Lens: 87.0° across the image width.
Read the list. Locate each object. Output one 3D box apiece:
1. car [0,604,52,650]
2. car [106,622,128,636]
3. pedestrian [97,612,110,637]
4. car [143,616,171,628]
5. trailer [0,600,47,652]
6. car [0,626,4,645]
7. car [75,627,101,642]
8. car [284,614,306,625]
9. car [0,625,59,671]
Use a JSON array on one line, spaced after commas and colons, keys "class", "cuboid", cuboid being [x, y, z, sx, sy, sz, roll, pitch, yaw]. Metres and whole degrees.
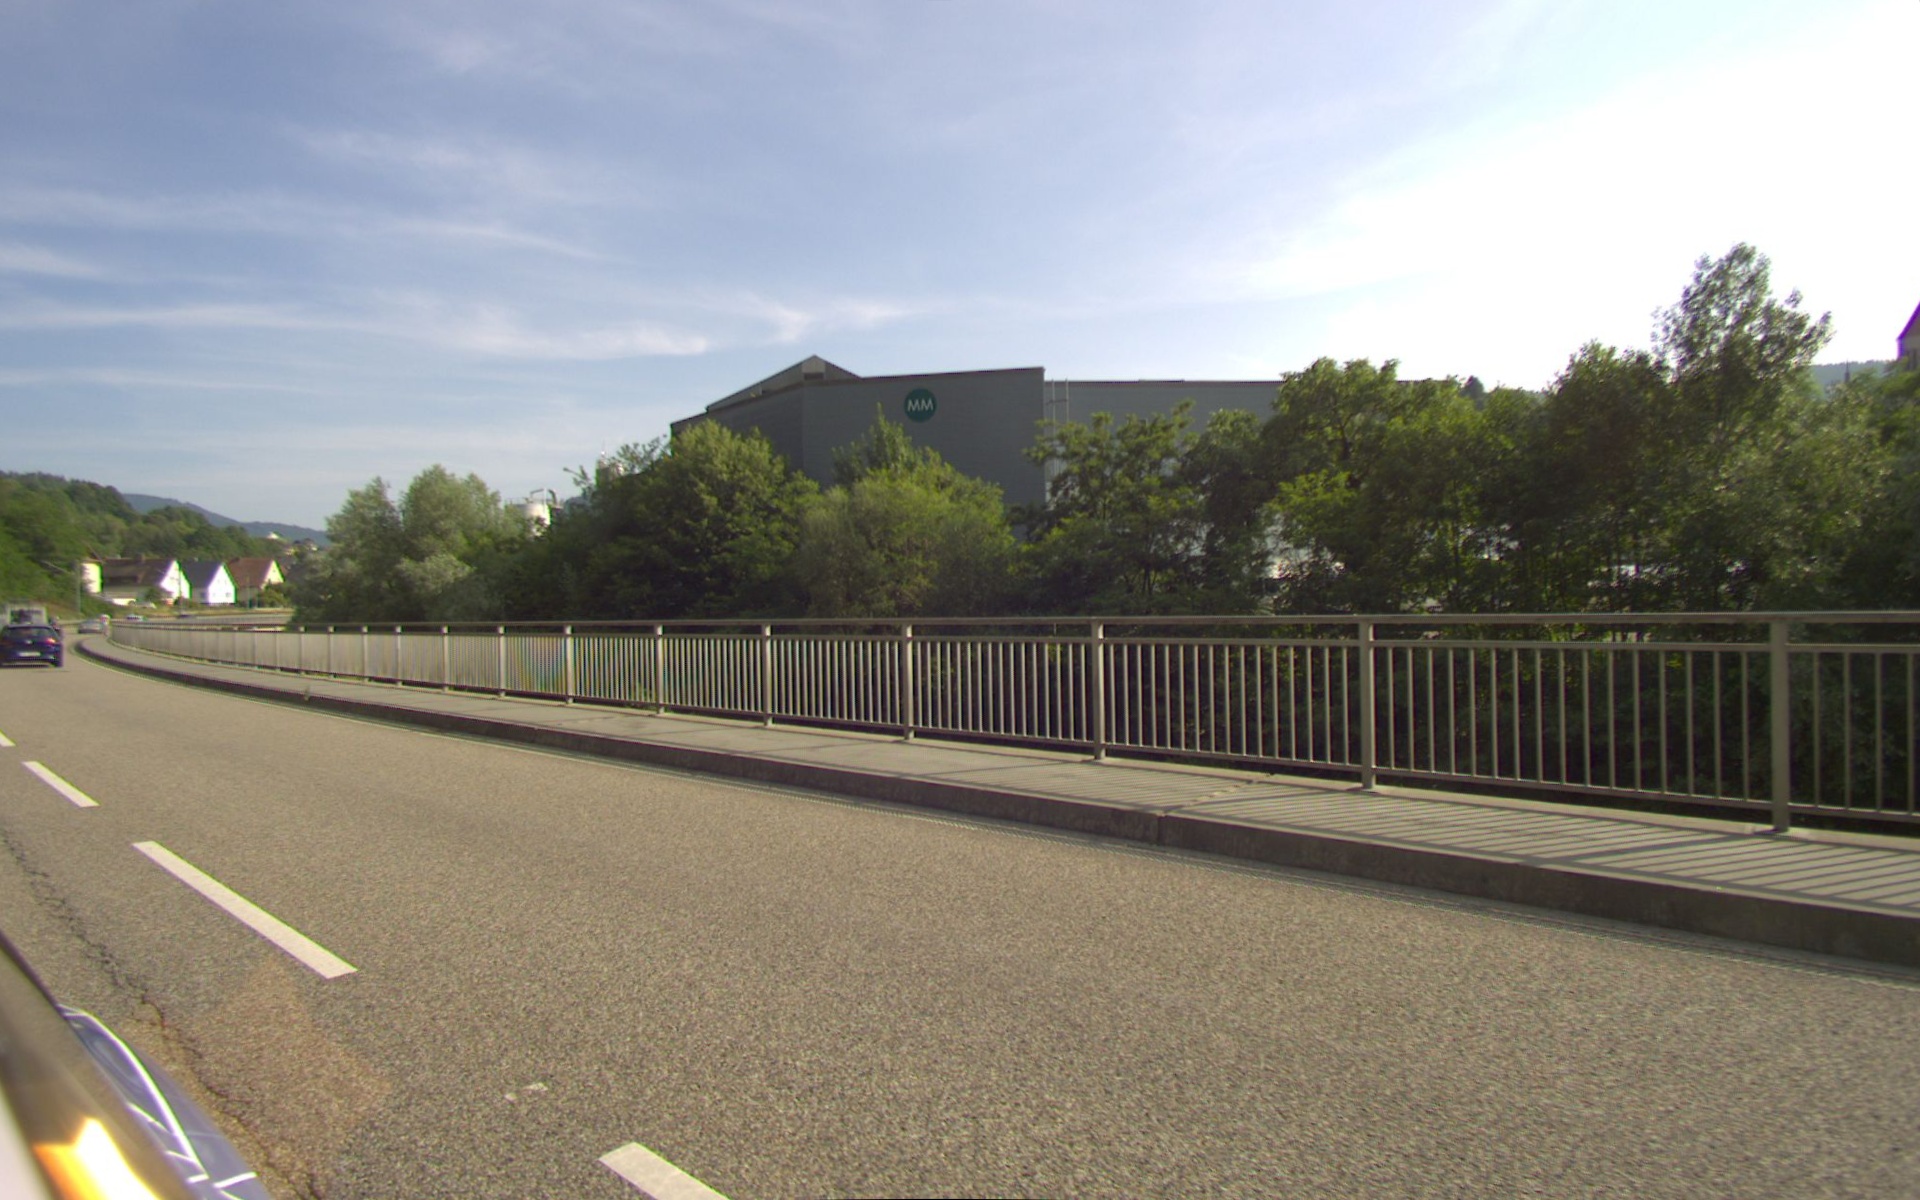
[{"class": "car", "cuboid": [-55.378, 1.595, 59.948, 2.131, 2.551, 6.588, 1, -2, -40]}, {"class": "car", "cuboid": [-97.301, 3.327, 116.779, 1.698, 1.596, 3.508, 3, -3, -37]}, {"class": "pedestrian", "cuboid": [-64.937, 1.852, 76.707, 0.708, 1.832, 0.878, 1, -1, -40]}, {"class": "car", "cuboid": [-117.451, 3.245, 148.074, 1.965, 1.693, 4.012, 2, -3, -19]}, {"class": "trailer", "cuboid": [-51.513, 1.420, 55.361, 2.095, 2.737, 5.356, 1, -2, -40]}, {"class": "car", "cuboid": [-75.315, 2.718, 78.223, 1.626, 1.443, 3.339, 3, -3, -36]}, {"class": "car", "cuboid": [-83.953, 3.314, 97.427, 1.563, 1.320, 3.508, 3, -3, -36]}, {"class": "car", "cuboid": [-118.046, 3.503, 179.639, 1.966, 1.874, 4.011, 0, -1, -14]}, {"class": "car", "cuboid": [-31.281, 1.560, 33.731, 1.683, 1.442, 4.077, 1, -1, -44]}]
